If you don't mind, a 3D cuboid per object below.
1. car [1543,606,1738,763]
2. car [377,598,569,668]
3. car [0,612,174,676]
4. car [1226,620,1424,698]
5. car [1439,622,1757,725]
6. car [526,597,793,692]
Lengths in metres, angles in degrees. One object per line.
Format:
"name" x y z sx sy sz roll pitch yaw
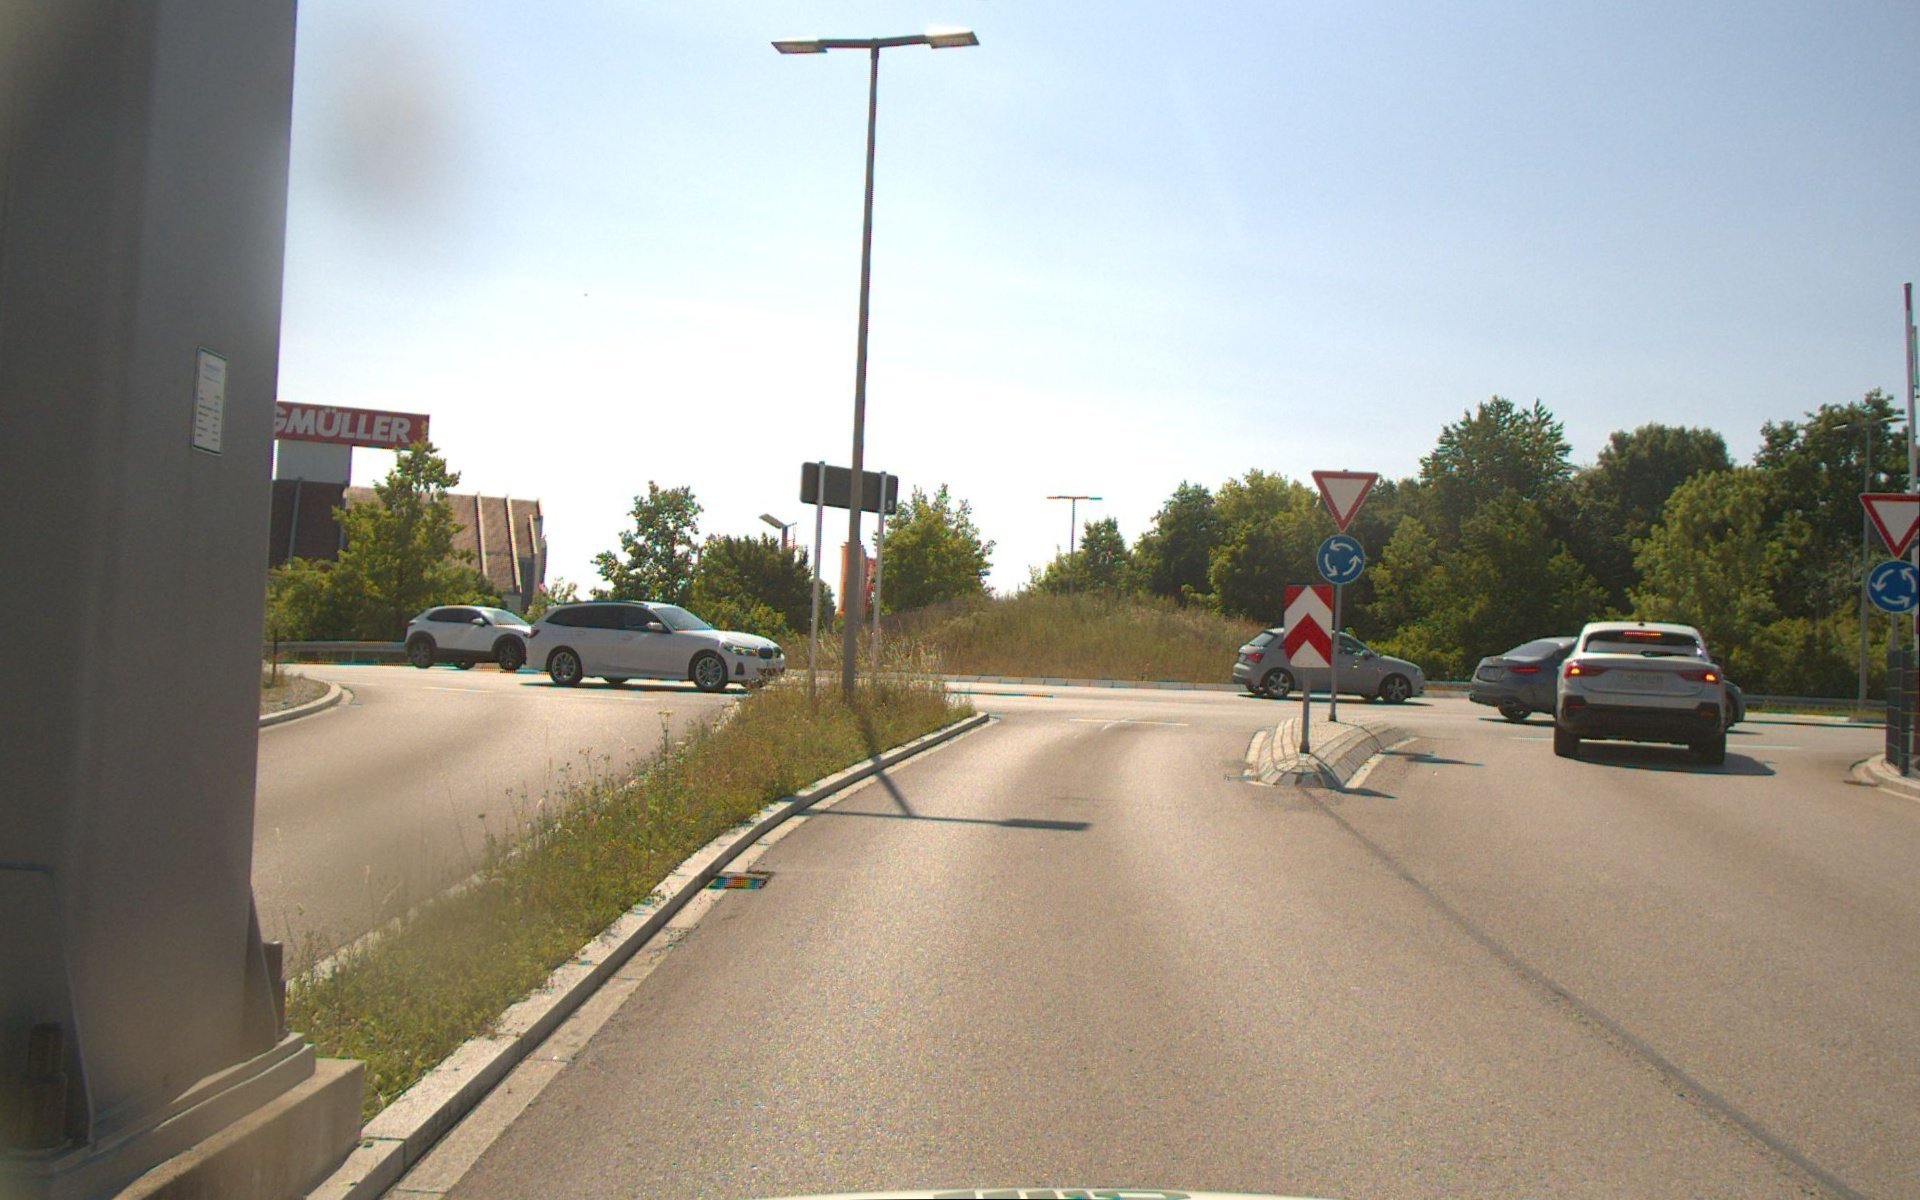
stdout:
"car" 8.095 0.957 20.003 1.803 1.624 4.326 2 -1 18
"car" -11.864 0.803 40.326 4.185 1.557 1.792 2 -2 19
"car" -22.987 1.125 42.823 4.318 1.429 1.789 3 -1 -7
"car" 7.455 1.201 33.995 3.681 1.375 1.531 3 -1 -1
"car" 10.788 1.233 28.036 4.777 1.478 1.992 3 -1 -15
"car" -5.151 0.745 28.398 4.237 1.375 1.573 3 -1 19
